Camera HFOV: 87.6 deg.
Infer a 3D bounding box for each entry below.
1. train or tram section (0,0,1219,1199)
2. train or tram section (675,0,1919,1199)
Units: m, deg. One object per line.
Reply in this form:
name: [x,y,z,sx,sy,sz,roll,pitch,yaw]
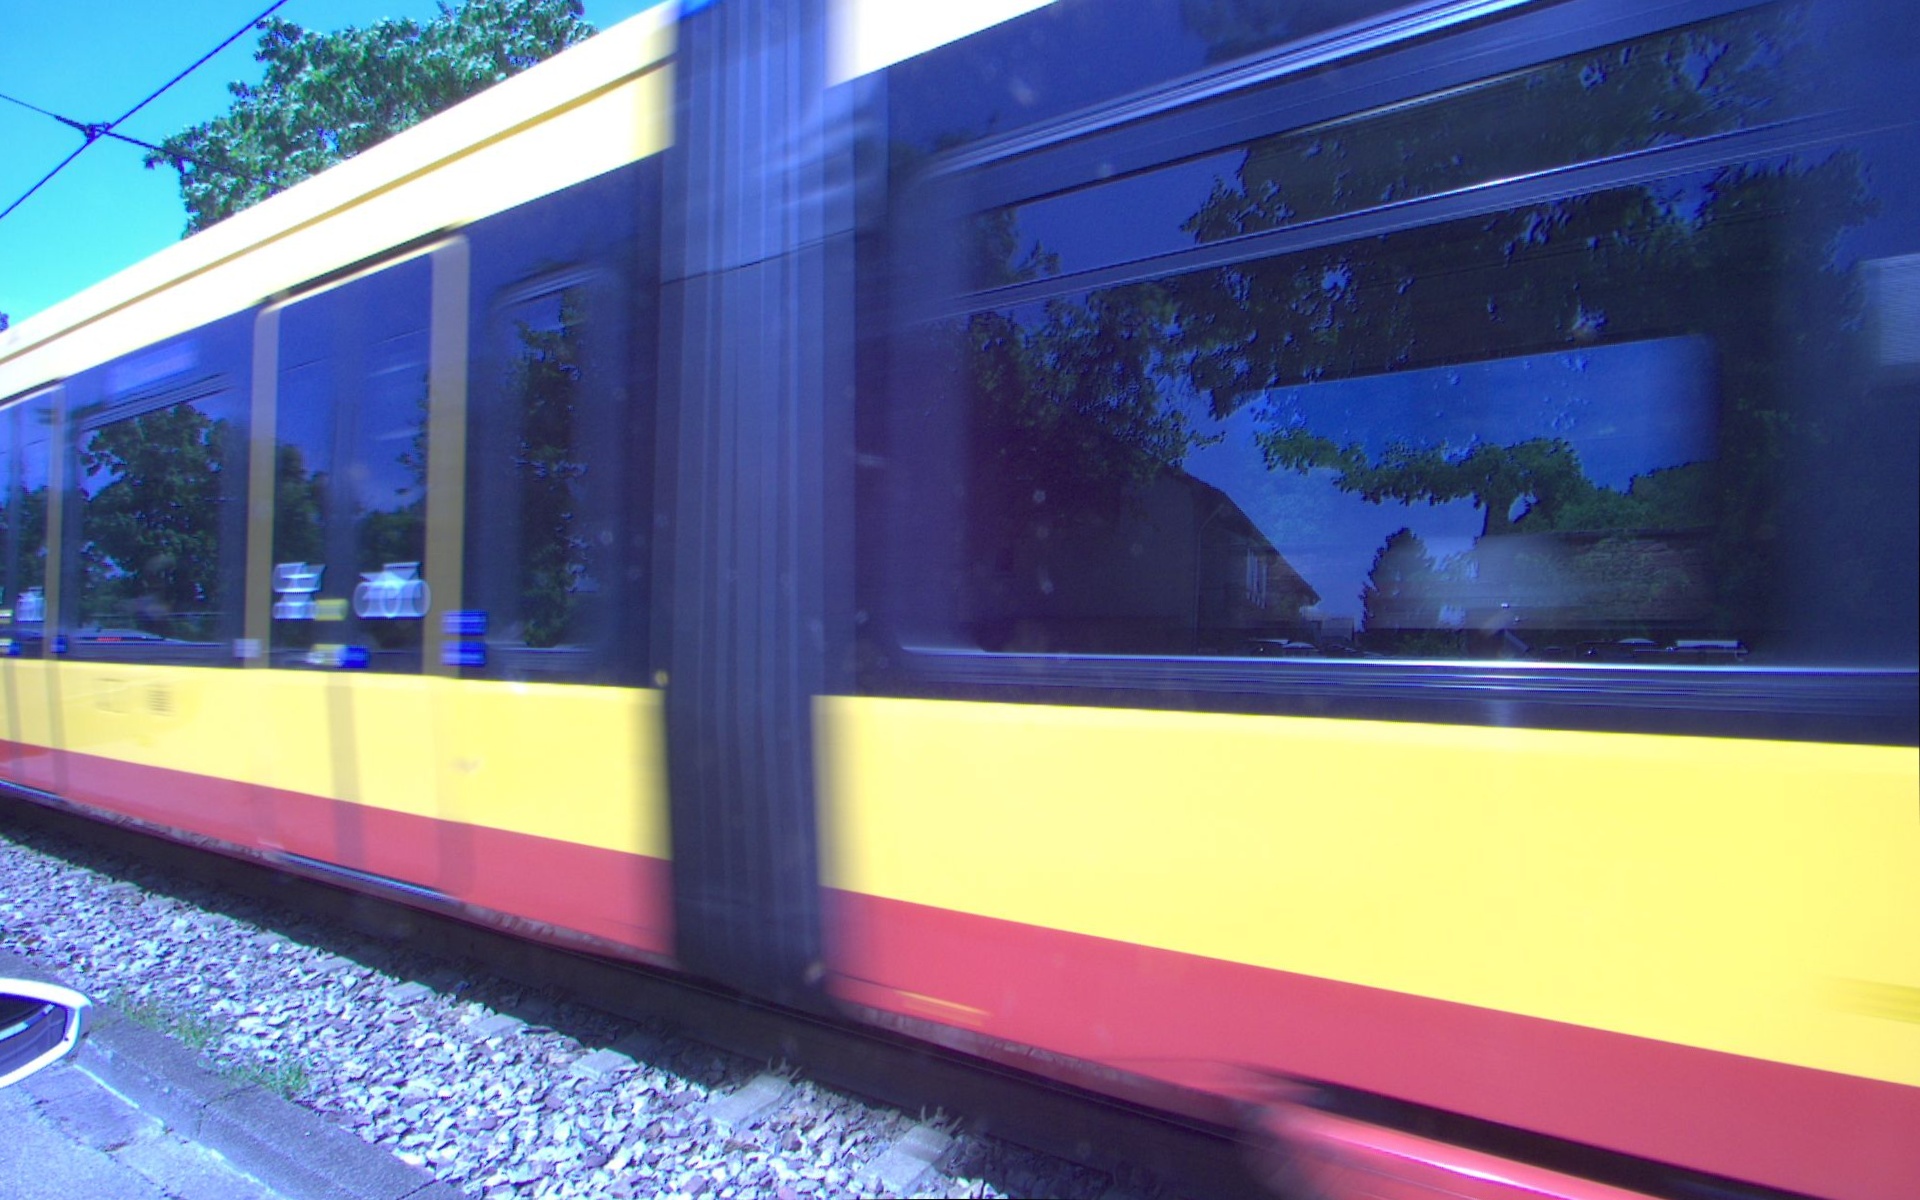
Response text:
train or tram section: [-4.029,-0.274,6.561,10.795,3.655,2.736,-1,-2,33]
train or tram section: [4.485,-0.550,1.009,10.795,3.655,2.736,-1,-2,33]
